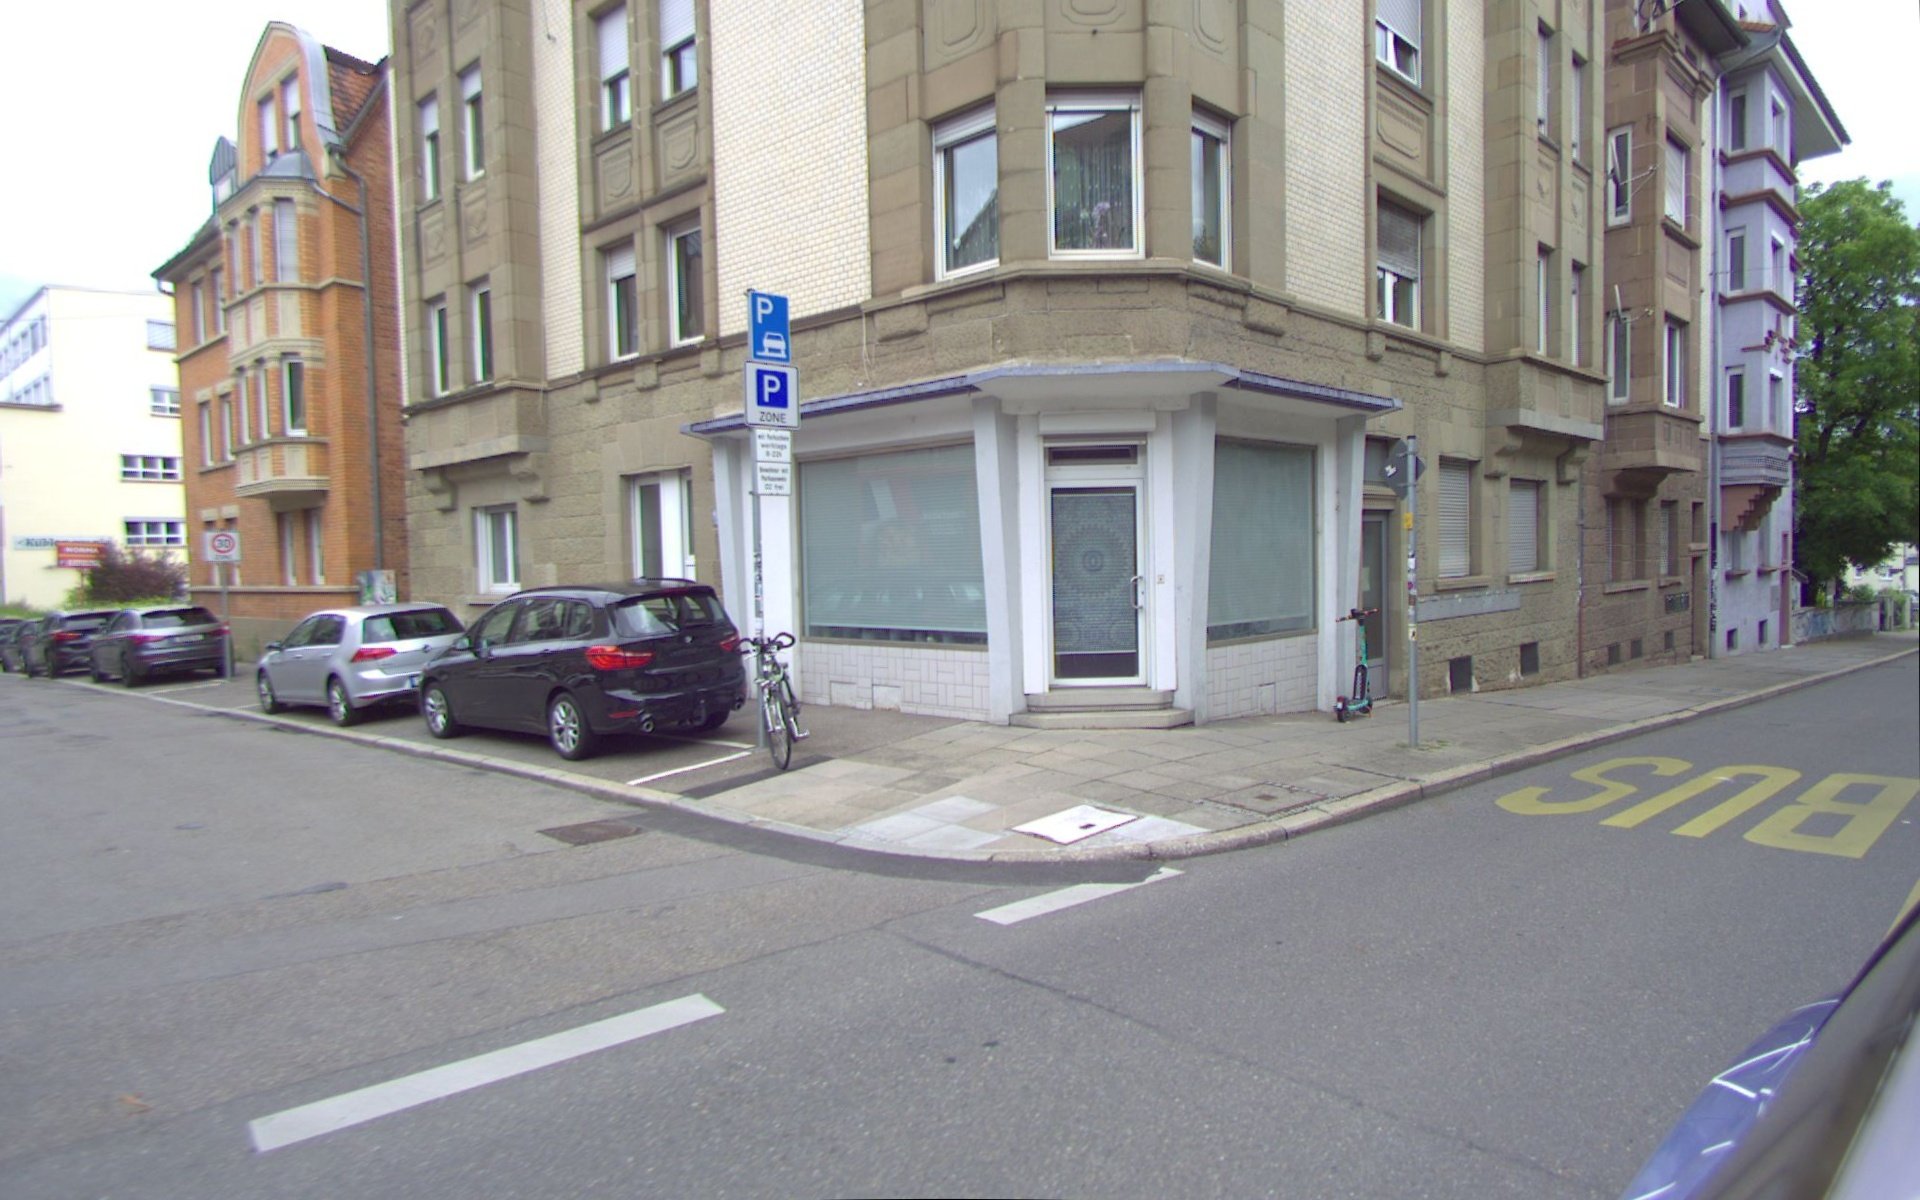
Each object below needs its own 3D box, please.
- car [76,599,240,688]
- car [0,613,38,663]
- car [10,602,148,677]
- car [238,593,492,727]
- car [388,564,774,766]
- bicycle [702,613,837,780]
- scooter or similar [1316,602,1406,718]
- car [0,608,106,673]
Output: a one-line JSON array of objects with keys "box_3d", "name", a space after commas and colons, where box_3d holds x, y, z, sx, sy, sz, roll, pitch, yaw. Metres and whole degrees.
[{"box_3d": [-17.148, 0.859, 21.590, 3.959, 1.587, 1.783, -1, 4, 38], "name": "car"}, {"box_3d": [-33.506, 1.321, 34.893, 3.959, 1.587, 1.783, -1, 4, 38], "name": "car"}, {"box_3d": [-22.009, 0.937, 25.243, 3.959, 1.587, 1.783, -1, 4, 38], "name": "car"}, {"box_3d": [-8.238, 0.727, 13.907, 3.852, 1.480, 1.666, -1, 4, 38], "name": "car"}, {"box_3d": [-4.163, 0.562, 10.811, 4.353, 1.665, 1.764, -1, 4, 38], "name": "car"}, {"box_3d": [-1.668, 0.798, 9.216, 0.630, 1.153, 2.074, -3, 4, 4], "name": "bicycle"}, {"box_3d": [4.518, 0.670, 11.381, 1.125, 1.225, 0.410, 4, 0, -42], "name": "scooter or similar"}, {"box_3d": [-26.200, 1.103, 29.003, 3.959, 1.587, 1.783, -1, 4, 38], "name": "car"}]
